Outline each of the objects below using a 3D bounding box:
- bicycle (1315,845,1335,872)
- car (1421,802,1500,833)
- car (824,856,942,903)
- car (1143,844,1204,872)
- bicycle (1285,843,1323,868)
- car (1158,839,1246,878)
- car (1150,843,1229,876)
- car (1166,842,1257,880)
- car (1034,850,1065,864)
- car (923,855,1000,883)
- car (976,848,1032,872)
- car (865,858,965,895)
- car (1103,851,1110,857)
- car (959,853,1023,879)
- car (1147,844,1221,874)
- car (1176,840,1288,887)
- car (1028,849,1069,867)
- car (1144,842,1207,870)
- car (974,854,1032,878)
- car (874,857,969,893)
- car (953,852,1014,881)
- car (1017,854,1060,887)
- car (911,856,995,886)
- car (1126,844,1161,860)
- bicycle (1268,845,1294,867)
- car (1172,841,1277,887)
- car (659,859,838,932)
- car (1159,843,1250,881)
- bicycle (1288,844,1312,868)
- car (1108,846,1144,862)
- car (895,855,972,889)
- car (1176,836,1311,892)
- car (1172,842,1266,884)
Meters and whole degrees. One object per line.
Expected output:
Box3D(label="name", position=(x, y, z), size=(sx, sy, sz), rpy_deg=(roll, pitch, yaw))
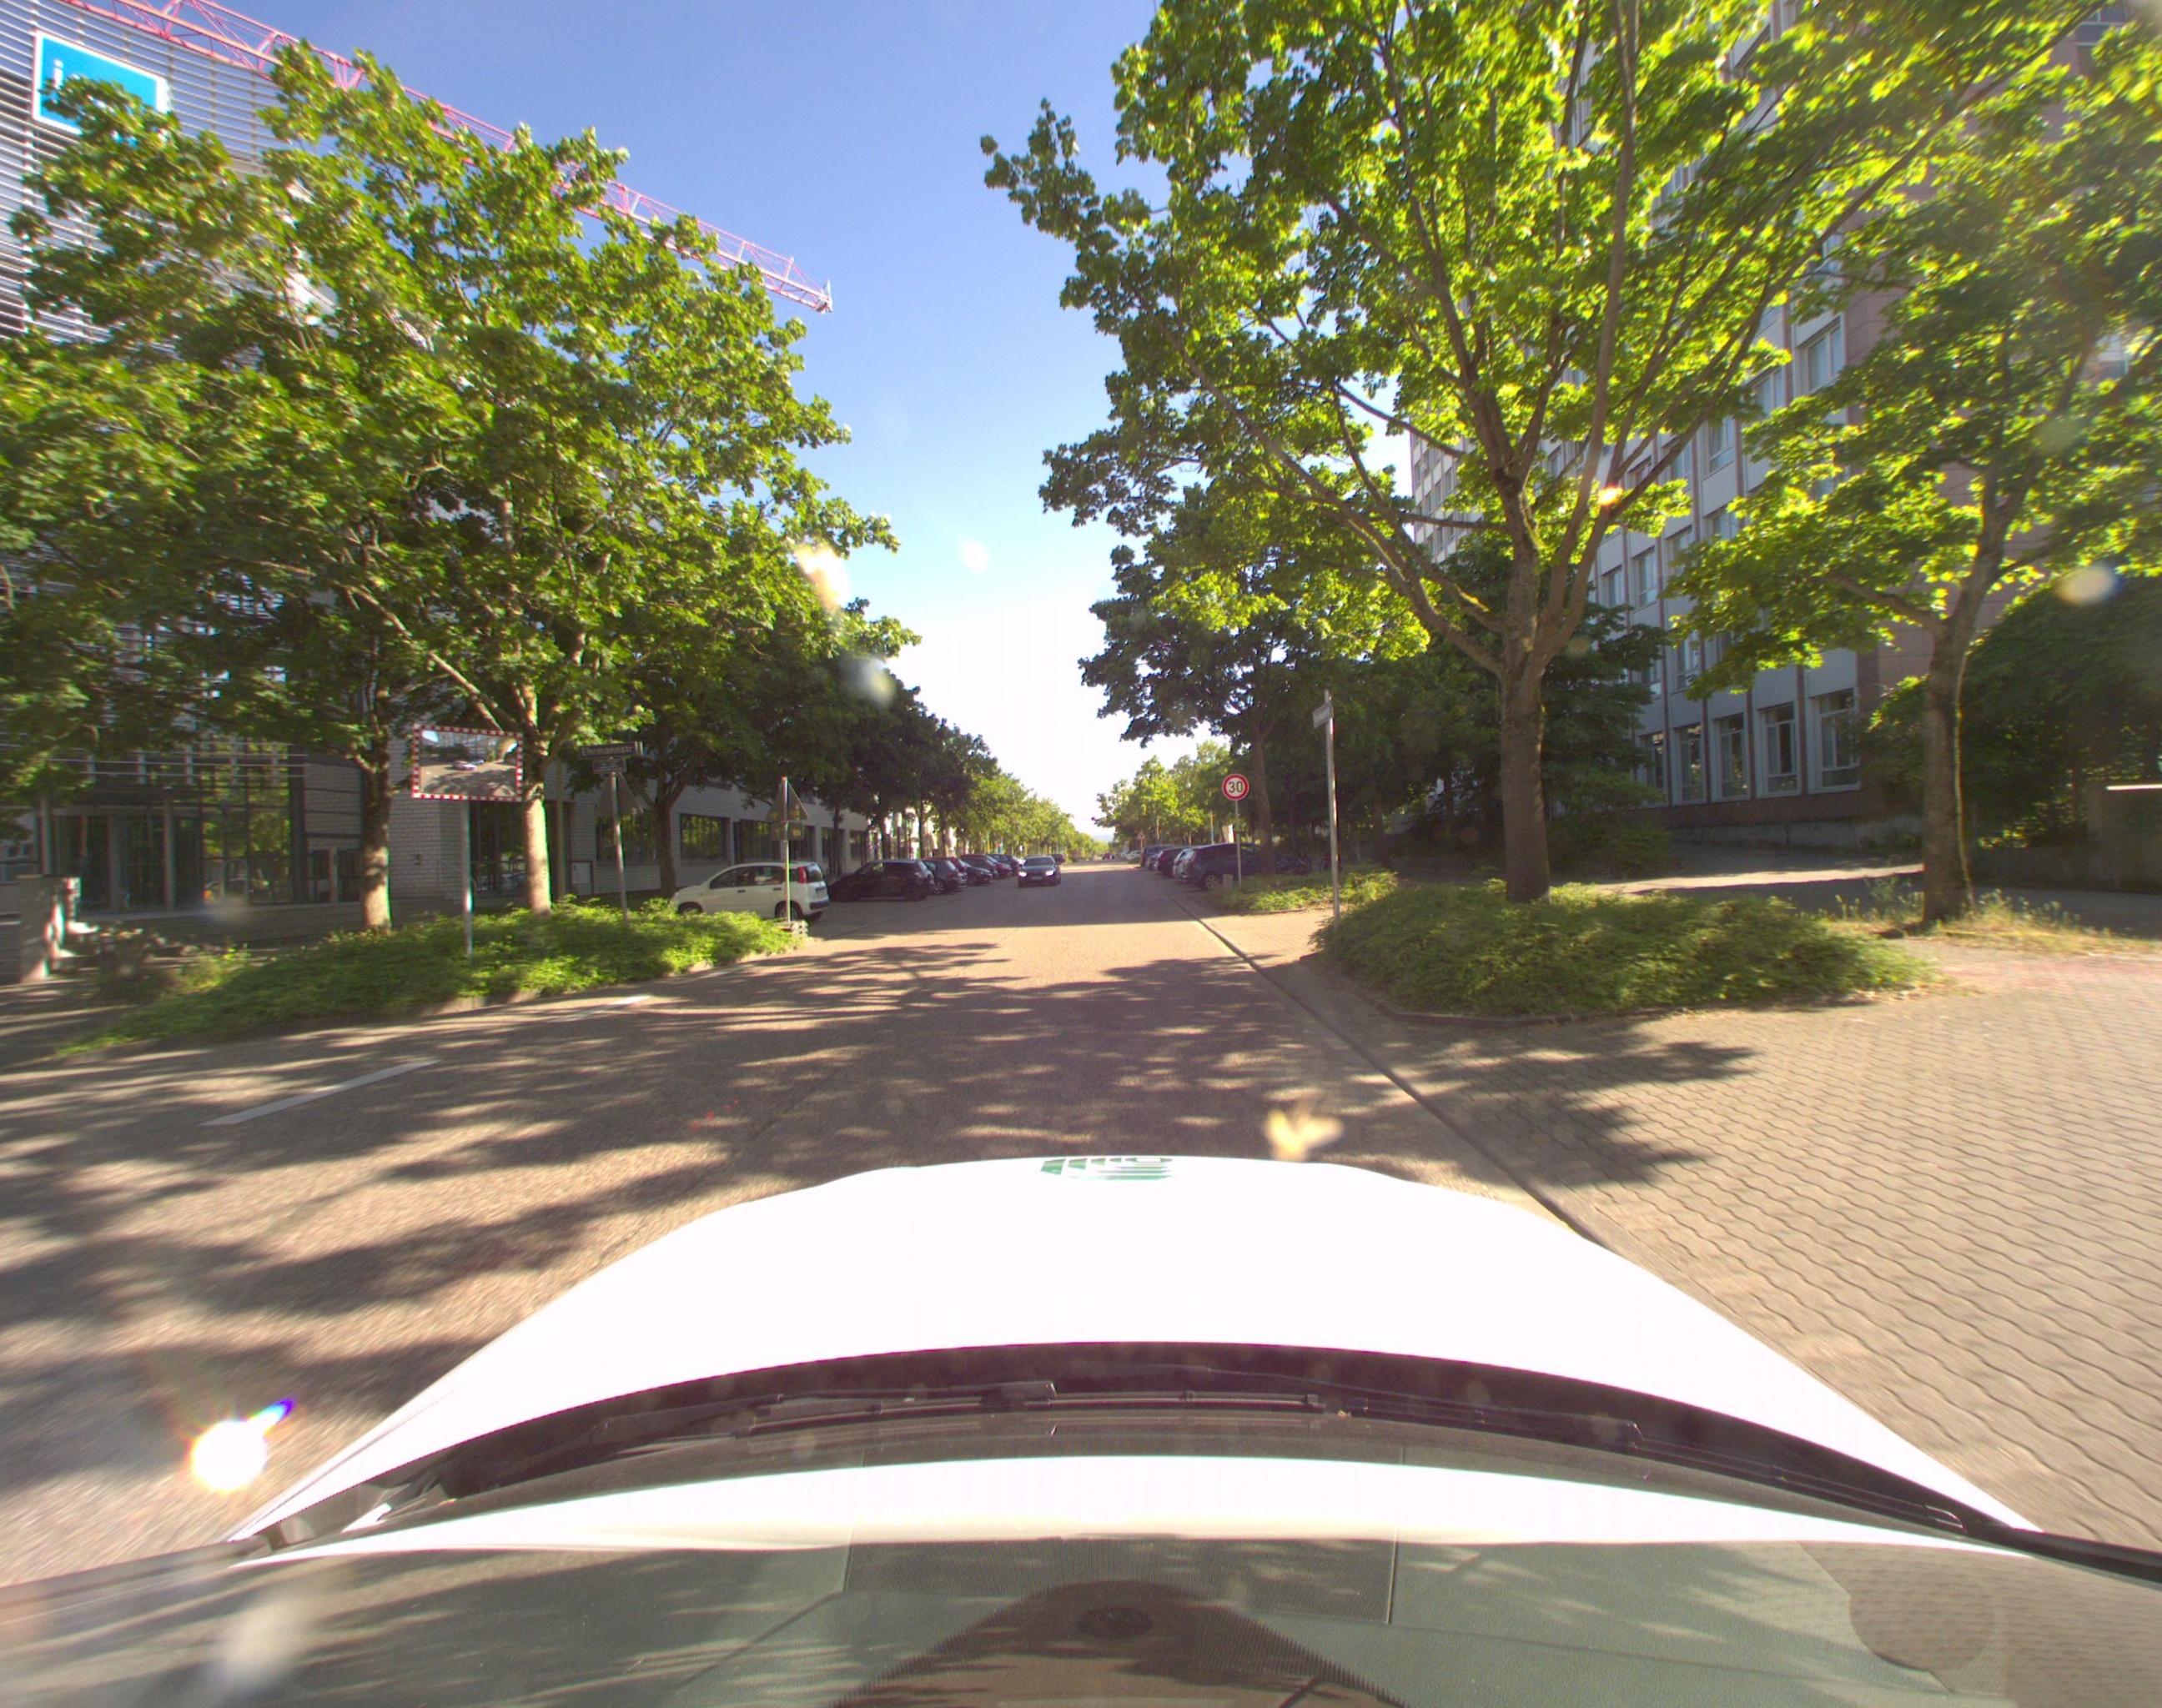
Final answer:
Box3D(label="bicycle", position=(9.720, 0.160, 32.504), size=(0.377, 1.047, 1.889), rpy_deg=(-4, 0, 7))
Box3D(label="car", position=(23.835, -2.266, 51.283), size=(4.062, 1.783, 1.998), rpy_deg=(-1, 0, -3))
Box3D(label="car", position=(-7.029, 0.896, 29.158), size=(3.720, 1.464, 1.677), rpy_deg=(-2, 0, 0))
Box3D(label="car", position=(6.322, 0.288, 55.859), size=(3.885, 1.656, 1.856), rpy_deg=(-3, 0, -4))
Box3D(label="bicycle", position=(10.363, 0.072, 37.840), size=(0.382, 1.078, 1.766), rpy_deg=(-3, 0, -40))
Box3D(label="car", position=(6.104, 0.213, 41.331), size=(4.227, 1.554, 1.923), rpy_deg=(-5, 0, 6))
Box3D(label="car", position=(5.930, 0.301, 44.645), size=(4.038, 1.591, 1.547), rpy_deg=(-3, 0, -6))
Box3D(label="car", position=(5.958, 0.296, 37.485), size=(3.852, 1.468, 1.967), rpy_deg=(-3, 0, 1))
Box3D(label="car", position=(-4.295, 0.348, 110.452), size=(3.972, 1.684, 2.001), rpy_deg=(-3, 0, 2))
Box3D(label="car", position=(-6.442, 0.794, 44.110), size=(3.979, 1.406, 1.603), rpy_deg=(-1, 0, -4))
Box3D(label="car", position=(-5.906, 0.444, 63.025), size=(3.969, 1.654, 1.862), rpy_deg=(-3, 0, 4))
Box3D(label="car", position=(-6.849, 0.921, 33.818), size=(3.747, 1.445, 1.632), rpy_deg=(-1, 0, 2))
Box3D(label="car", position=(7.304, 0.069, 234.623), size=(1.926, 1.597, 4.368), rpy_deg=(-3, 0, 2))
Box3D(label="car", position=(-6.088, 0.817, 55.552), size=(3.968, 1.586, 1.767), rpy_deg=(-3, -1, 4))
Box3D(label="car", position=(6.017, 0.283, 47.736), size=(4.033, 1.491, 1.549), rpy_deg=(-4, 0, -2))
Box3D(label="car", position=(5.689, 0.345, 31.013), size=(3.868, 1.526, 1.896), rpy_deg=(-3, 0, 1))
Box3D(label="car", position=(-3.392, 0.392, 85.386), size=(3.969, 1.654, 1.862), rpy_deg=(-3, 0, 4))
Box3D(label="car", position=(6.441, 0.136, 55.963), size=(4.033, 1.582, 1.640), rpy_deg=(-4, 0, -2))
Box3D(label="car", position=(-5.593, 0.852, 58.548), size=(3.879, 1.464, 1.858), rpy_deg=(-2, 0, 0))
Box3D(label="car", position=(-7.032, 0.912, 36.274), size=(3.855, 1.456, 1.754), rpy_deg=(-1, 2, -1))
Box3D(label="car", position=(-6.124, 0.748, 51.363), size=(3.526, 1.657, 1.763), rpy_deg=(-2, 0, 3))
Box3D(label="car", position=(-1.991, 0.752, 39.233), size=(1.807, 1.415, 4.106), rpy_deg=(-2, 0, 0))
Box3D(label="car", position=(-6.456, 0.873, 41.487), size=(3.974, 1.412, 1.665), rpy_deg=(-1, 0, 0))
Box3D(label="car", position=(7.651, -0.249, 100.079), size=(3.978, 1.792, 1.998), rpy_deg=(-2, 0, -4))
Box3D(label="bicycle", position=(10.251, 0.095, 41.840), size=(0.380, 1.078, 1.776), rpy_deg=(-3, 0, -19))
Box3D(label="car", position=(5.488, 0.367, 31.546), size=(3.725, 1.466, 1.912), rpy_deg=(-4, 0, 2))
Box3D(label="car", position=(-7.902, 0.981, 19.564), size=(3.569, 1.549, 1.637), rpy_deg=(-2, -3, -1))
Box3D(label="car", position=(5.522, 0.357, 36.753), size=(3.742, 1.449, 1.879), rpy_deg=(-4, 0, -2))
Box3D(label="bicycle", position=(10.517, 0.089, 39.126), size=(0.379, 1.078, 1.781), rpy_deg=(-3, 0, -9))
Box3D(label="car", position=(5.156, -0.037, 93.684), size=(3.978, 1.624, 1.998), rpy_deg=(-2, 0, -4))
Box3D(label="car", position=(-7.026, 0.848, 39.020), size=(3.411, 1.463, 1.694), rpy_deg=(-1, 1, -4))
Box3D(label="car", position=(5.564, 0.338, 28.318), size=(4.255, 1.633, 1.857), rpy_deg=(-3, 0, -1))
Box3D(label="car", position=(5.772, 0.361, 34.241), size=(3.623, 1.466, 1.633), rpy_deg=(-4, 0, 0))
